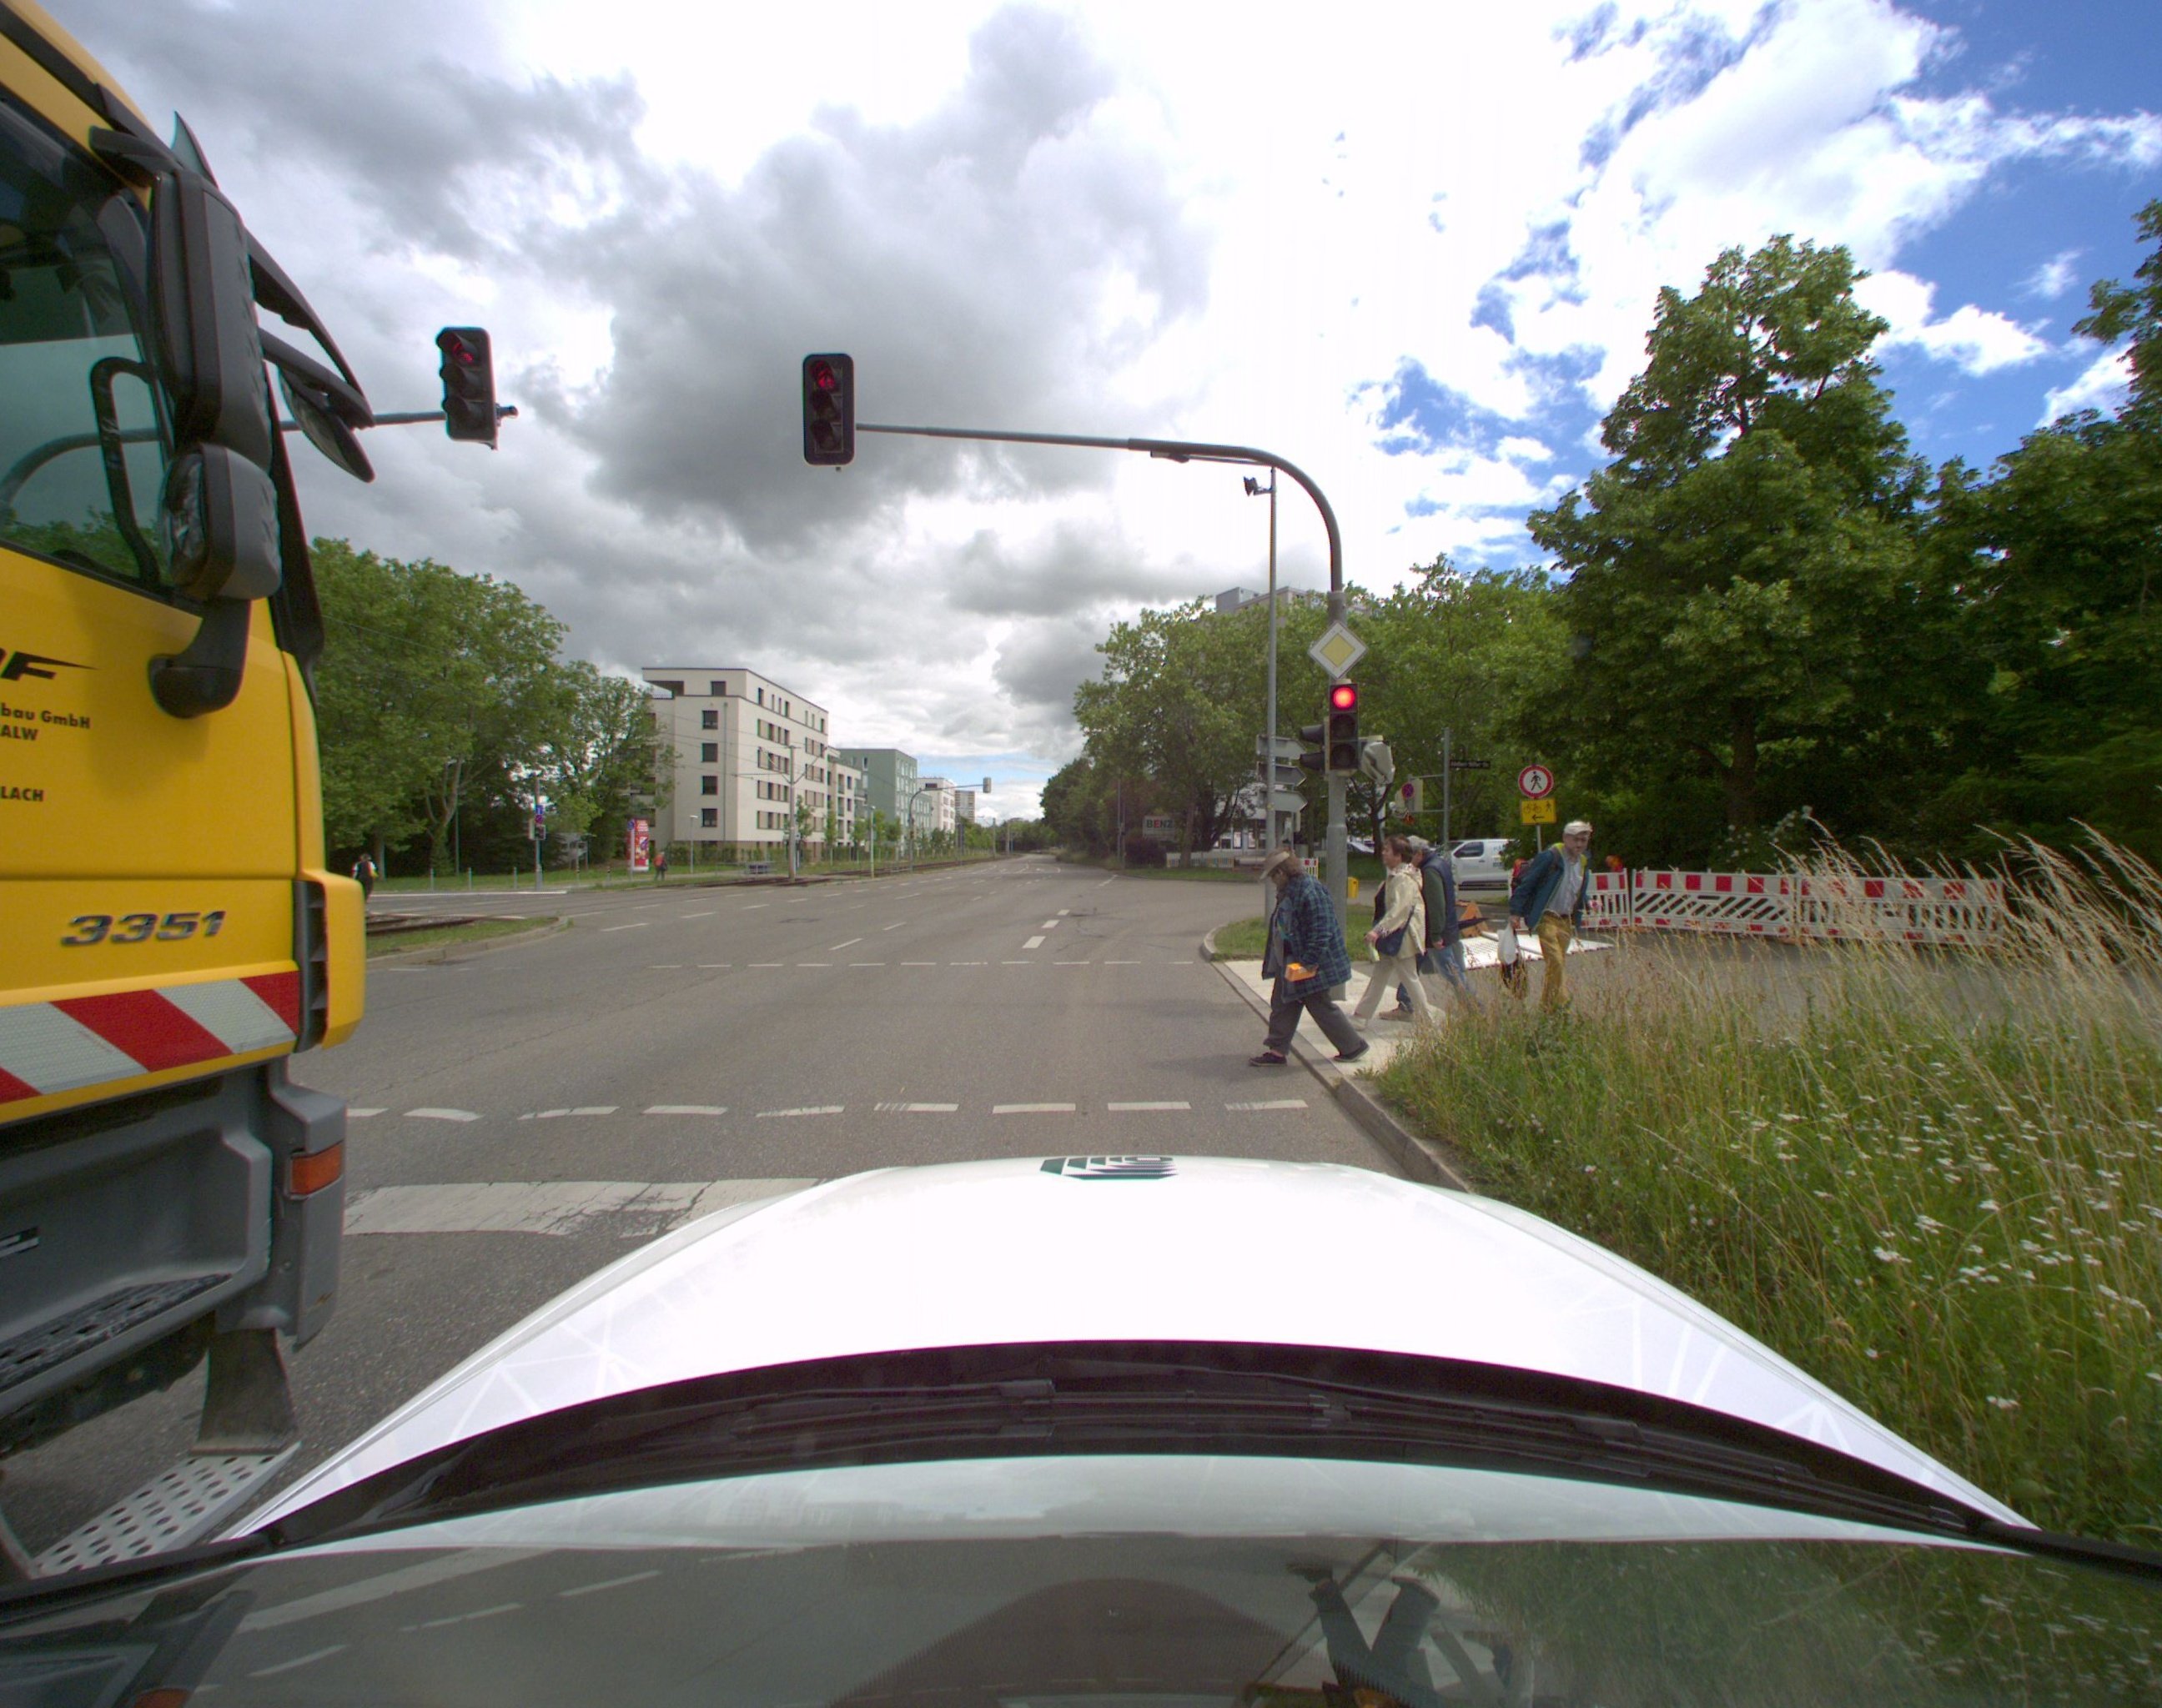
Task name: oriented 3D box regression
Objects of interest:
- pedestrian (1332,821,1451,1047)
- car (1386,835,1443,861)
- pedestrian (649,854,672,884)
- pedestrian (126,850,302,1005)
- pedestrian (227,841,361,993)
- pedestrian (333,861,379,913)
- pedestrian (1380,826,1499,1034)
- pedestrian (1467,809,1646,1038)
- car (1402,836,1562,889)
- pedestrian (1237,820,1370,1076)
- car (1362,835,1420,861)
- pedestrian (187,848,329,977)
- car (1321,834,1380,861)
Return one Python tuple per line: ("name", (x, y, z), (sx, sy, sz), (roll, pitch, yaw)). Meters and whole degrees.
("pedestrian", (2.422, 0.580, 6.401), (0.815, 1.640, 0.737), (0, 0, 19))
("car", (27.314, -0.492, 66.872), (2.006, 2.013, 3.962), (-1, 0, -29))
("pedestrian", (-21.748, 0.784, 42.130), (0.827, 1.516, 0.636), (-1, 0, 1))
("pedestrian", (-9.444, 0.762, 8.919), (0.909, 1.607, 0.930), (-1, 0, 2))
("pedestrian", (-9.440, 0.725, 9.808), (0.779, 1.742, 0.829), (-1, 0, 2))
("pedestrian", (-23.495, 1.051, 26.417), (1.075, 1.648, 0.700), (-1, 0, -41))
("pedestrian", (3.001, 0.592, 6.898), (0.861, 1.634, 0.769), (0, 0, 20))
("pedestrian", (4.077, 0.533, 7.005), (0.952, 1.774, 1.002), (-1, 0, -33))
("car", (14.918, 0.303, 30.462), (5.063, 1.874, 1.947), (-1, 0, -2))
("pedestrian", (1.532, 0.610, 5.731), (0.817, 1.671, 0.735), (-1, 0, 8))
("car", (24.599, -0.489, 64.738), (2.006, 2.013, 3.962), (-1, 0, -29))
("pedestrian", (-10.664, 0.727, 10.593), (0.889, 1.596, 0.908), (-1, 0, 2))
("car", (20.568, -0.482, 62.257), (2.006, 2.013, 3.962), (-1, 0, -29))
